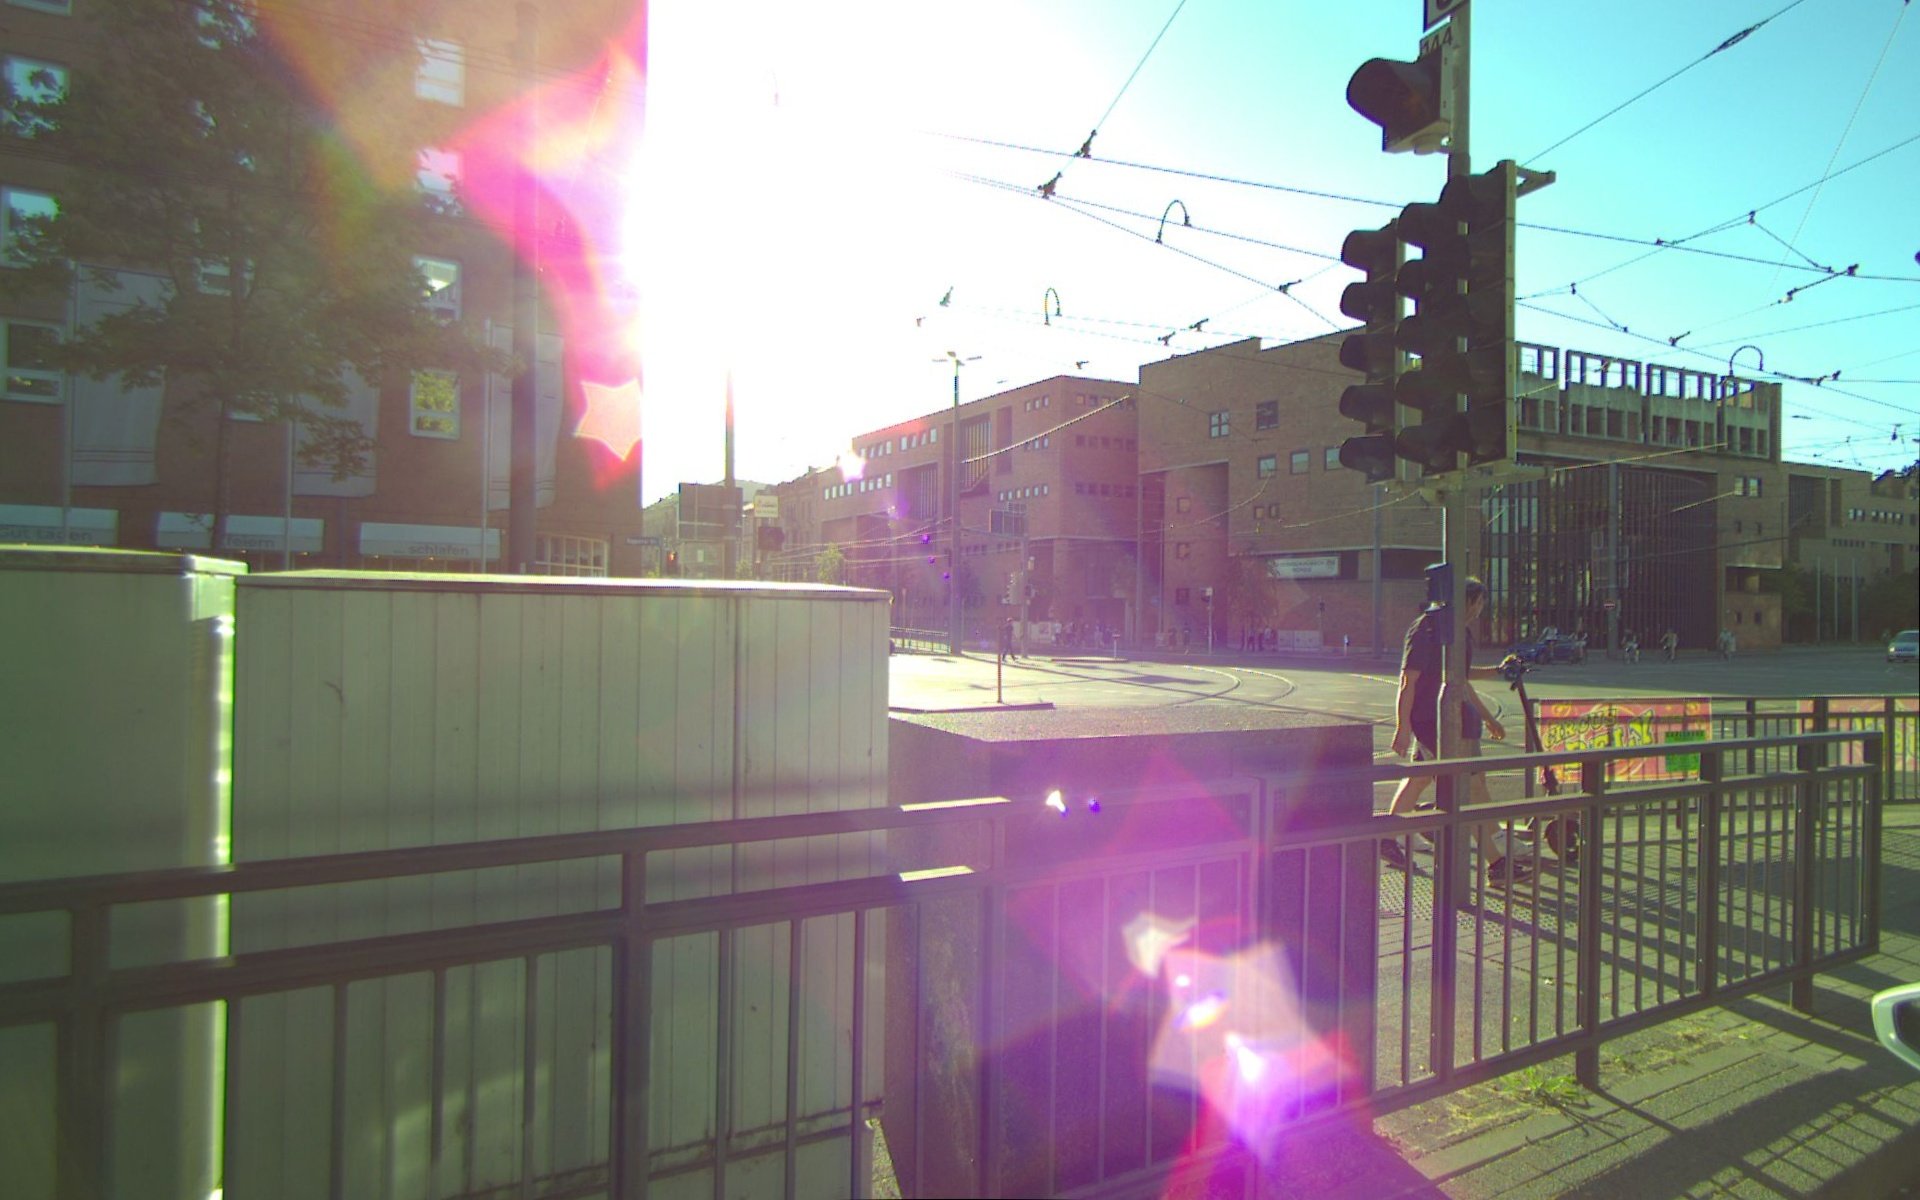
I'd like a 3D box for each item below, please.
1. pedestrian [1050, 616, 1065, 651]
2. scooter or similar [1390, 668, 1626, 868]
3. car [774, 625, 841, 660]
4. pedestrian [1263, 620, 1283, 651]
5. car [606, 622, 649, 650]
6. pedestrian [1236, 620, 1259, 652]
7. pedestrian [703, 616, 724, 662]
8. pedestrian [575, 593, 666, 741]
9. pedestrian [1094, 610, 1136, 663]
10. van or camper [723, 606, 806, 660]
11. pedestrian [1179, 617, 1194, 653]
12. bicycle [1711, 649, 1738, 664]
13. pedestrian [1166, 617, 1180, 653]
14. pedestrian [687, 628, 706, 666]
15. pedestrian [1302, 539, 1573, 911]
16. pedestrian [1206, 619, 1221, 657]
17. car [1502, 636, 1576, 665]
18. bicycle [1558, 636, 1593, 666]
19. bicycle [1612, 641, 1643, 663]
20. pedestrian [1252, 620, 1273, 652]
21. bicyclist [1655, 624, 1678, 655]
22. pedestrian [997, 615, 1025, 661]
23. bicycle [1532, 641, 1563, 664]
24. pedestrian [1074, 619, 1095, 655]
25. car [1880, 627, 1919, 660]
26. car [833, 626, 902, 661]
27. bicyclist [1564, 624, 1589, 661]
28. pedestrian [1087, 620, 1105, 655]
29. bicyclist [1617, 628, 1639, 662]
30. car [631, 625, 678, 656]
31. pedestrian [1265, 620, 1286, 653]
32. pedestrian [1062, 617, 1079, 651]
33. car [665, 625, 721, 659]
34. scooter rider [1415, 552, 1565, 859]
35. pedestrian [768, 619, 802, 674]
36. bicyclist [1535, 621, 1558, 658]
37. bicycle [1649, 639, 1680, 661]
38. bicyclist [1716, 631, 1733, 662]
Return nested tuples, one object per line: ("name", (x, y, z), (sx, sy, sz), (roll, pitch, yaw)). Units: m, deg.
("pedestrian", (5.796, 1.986, 59.625), (0.607, 2.040, 0.727), (1, -1, -32))
("scooter or similar", (3.492, 1.016, 6.485), (0.639, 1.095, 1.199), (1, -1, -25))
("car", (-7.806, 2.135, 51.182), (1.978, 1.709, 3.965), (1, -2, -33))
("pedestrian", (20.819, 2.368, 66.836), (0.841, 2.079, 1.001), (1, -1, -32))
("car", (-21.676, 2.343, 65.338), (1.738, 1.750, 3.965), (1, -2, -32))
("pedestrian", (18.645, 2.326, 65.155), (0.902, 2.040, 1.151), (1, -1, -34))
("pedestrian", (-11.232, 1.775, 45.760), (0.597, 2.040, 0.848), (1, -1, -38))
("pedestrian", (-4.414, 0.841, 13.040), (0.945, 1.822, 0.986), (2, 0, -27))
("pedestrian", (6.128, 1.455, 39.743), (1.193, 2.040, 1.028), (2, 0, -30))
("van or camper", (-9.367, 1.558, 47.904), (1.981, 2.451, 4.980), (1, -2, -36))
("pedestrian", (12.868, 1.977, 57.075), (0.603, 2.040, 0.731), (0, -1, 30))
("bicycle", (41.111, 3.042, 54.032), (1.948, 0.781, 0.586), (1, -2, -35))
("pedestrian", (12.194, 1.981, 57.497), (0.603, 2.040, 0.731), (0, -1, 30))
("pedestrian", (-12.844, 2.265, 48.870), (0.597, 1.843, 0.848), (1, -1, -38))
("pedestrian", (2.743, 0.661, 5.872), (0.843, 1.908, 1.164), (1, -1, -25))
("pedestrian", (13.815, 2.046, 54.688), (0.603, 2.040, 0.731), (0, -1, 30))
("car", (28.659, 2.476, 49.710), (3.671, 1.394, 1.574), (1, -2, -29))
("bicycle", (26.555, 2.191, 43.324), (2.093, 1.157, 0.679), (-1, 0, -40))
("bicycle", (32.096, 2.482, 48.301), (1.884, 1.011, 0.688), (1, -2, -37))
("pedestrian", (19.916, 2.337, 66.163), (0.841, 2.079, 1.001), (1, -1, -32))
("bicyclist", (35.598, 1.989, 50.594), (1.022, 1.494, 0.649), (2, -1, -35))
("pedestrian", (2.152, 1.593, 42.254), (0.866, 1.927, 0.718), (2, 0, -33))
("bicycle", (25.794, 2.292, 44.084), (1.887, 1.011, 0.647), (2, -2, -41))
("pedestrian", (7.202, 2.133, 57.916), (0.917, 2.010, 0.780), (1, -1, -32))
("car", (48.951, 2.228, 51.708), (3.962, 1.598, 1.610), (1, -2, -36))
("car", (-4.816, 2.229, 51.807), (1.978, 1.709, 3.965), (1, -2, -33))
("bicyclist", (26.628, 1.835, 43.380), (0.752, 1.581, 0.676), (-1, 0, -39))
("pedestrian", (7.893, 2.156, 58.399), (0.742, 2.010, 0.780), (1, -1, -32))
("bicyclist", (32.117, 2.160, 48.297), (0.752, 1.590, 0.656), (1, -2, -37))
("car", (-18.304, 2.391, 60.076), (1.738, 1.750, 3.965), (1, -2, -32))
("pedestrian", (20.503, 2.360, 65.281), (0.841, 2.079, 1.001), (1, -1, -32))
("pedestrian", (6.568, 2.012, 59.597), (0.644, 2.040, 0.780), (1, -1, -32))
("car", (-14.386, 2.228, 54.032), (1.739, 1.750, 3.963), (1, -2, -33))
("scooter rider", (3.456, 0.664, 6.561), (0.670, 1.877, 0.564), (3, -2, -25))
("pedestrian", (-5.748, 1.512, 32.976), (0.860, 1.775, 0.670), (1, -2, -39))
("bicyclist", (25.641, 1.719, 43.941), (0.752, 1.595, 0.655), (1, -2, -40))
("bicycle", (35.357, 2.507, 50.413), (1.993, 1.064, 0.647), (2, -1, -35))
("bicyclist", (41.150, 2.511, 54.071), (0.509, 1.647, 0.583), (1, -1, -35))
